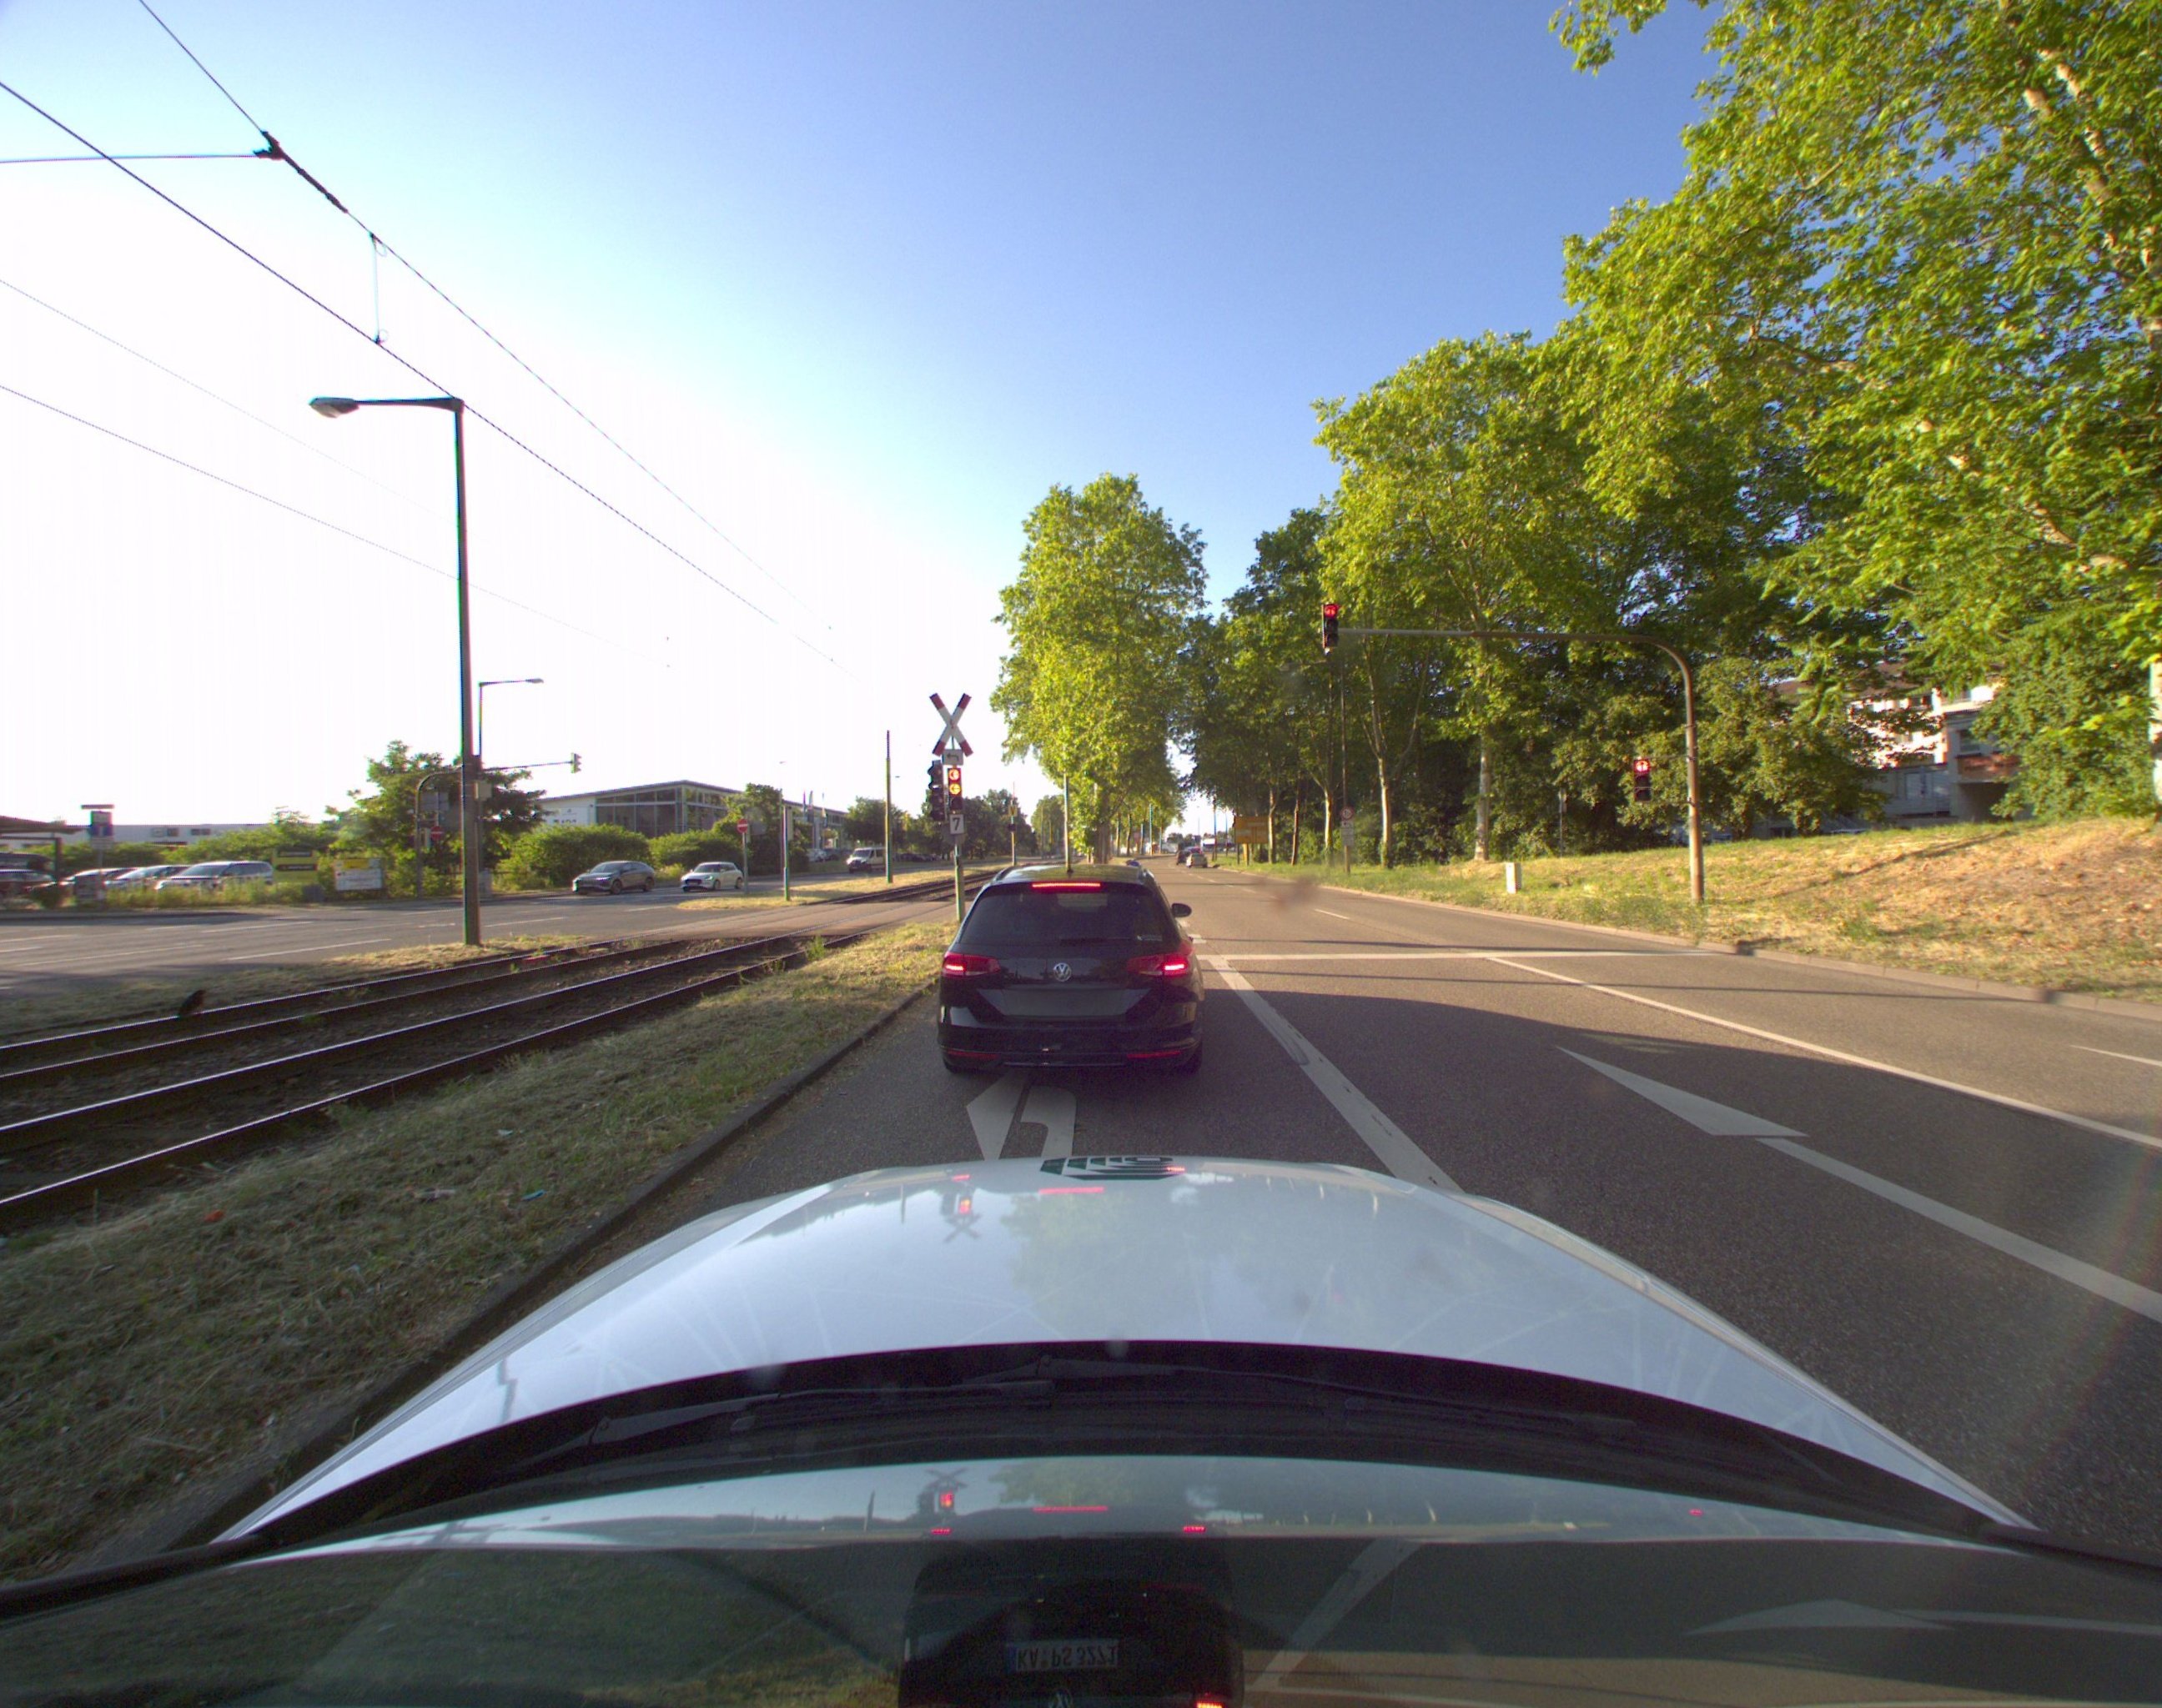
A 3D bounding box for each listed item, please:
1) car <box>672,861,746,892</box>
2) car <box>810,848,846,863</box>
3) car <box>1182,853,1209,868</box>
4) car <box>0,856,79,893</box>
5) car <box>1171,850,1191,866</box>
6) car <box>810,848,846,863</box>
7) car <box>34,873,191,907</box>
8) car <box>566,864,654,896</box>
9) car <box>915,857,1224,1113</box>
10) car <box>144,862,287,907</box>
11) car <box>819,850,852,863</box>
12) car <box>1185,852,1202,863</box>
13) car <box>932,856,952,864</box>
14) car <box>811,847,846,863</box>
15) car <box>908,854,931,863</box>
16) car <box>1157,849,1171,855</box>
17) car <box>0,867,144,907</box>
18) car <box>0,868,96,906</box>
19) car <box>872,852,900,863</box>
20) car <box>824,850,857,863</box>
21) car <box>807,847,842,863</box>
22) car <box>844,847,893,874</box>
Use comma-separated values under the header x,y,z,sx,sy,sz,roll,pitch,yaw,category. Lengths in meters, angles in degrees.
x,y,z,sx,sy,sz,roll,pitch,yaw,category
-19.650,1.167,43.182,1.854,1.481,4.095,0,0,3,car
-29.953,0.159,96.390,3.999,1.704,1.732,-1,0,-19,car
10.348,0.581,73.926,1.606,1.294,3.977,0,0,-4,car
-60.424,1.143,45.912,1.855,2.014,4.773,0,0,2,car
10.670,0.426,87.296,1.701,1.561,4.167,-1,0,1,car
-29.264,0.141,94.121,3.999,1.704,1.732,-1,0,-19,car
-42.474,1.557,35.896,1.855,1.267,4.174,0,0,2,car
-23.791,1.272,41.351,1.854,1.481,4.176,0,0,3,car
-0.022,0.771,6.529,1.788,1.464,3.584,0,0,1,car
-38.526,1.317,36.418,1.855,1.821,4.174,0,0,2,car
-31.154,0.295,103.425,3.999,1.556,1.732,-1,0,-19,car
16.787,0.539,121.406,1.858,1.635,4.388,2,0,15,car
-28.813,1.178,168.927,3.977,1.556,1.742,-1,0,-2,car
-30.605,0.123,98.745,3.999,1.816,1.732,-1,0,-19,car
-29.107,0.861,146.847,3.978,1.621,1.742,-1,0,-3,car
18.075,-0.419,177.373,1.976,1.420,4.022,-1,0,23,car
-44.714,1.397,35.899,1.855,1.583,4.174,0,0,2,car
-47.163,1.445,36.052,1.970,1.583,4.174,0,0,2,car
-30.121,0.584,125.955,3.978,1.621,1.742,-1,0,-3,car
-31.368,0.339,106.216,3.999,1.556,1.732,-1,0,-19,car
-31.648,0.125,100.526,3.999,1.816,1.732,-1,0,-19,car
-20.507,0.571,78.859,2.081,2.461,5.872,0,0,12,car
